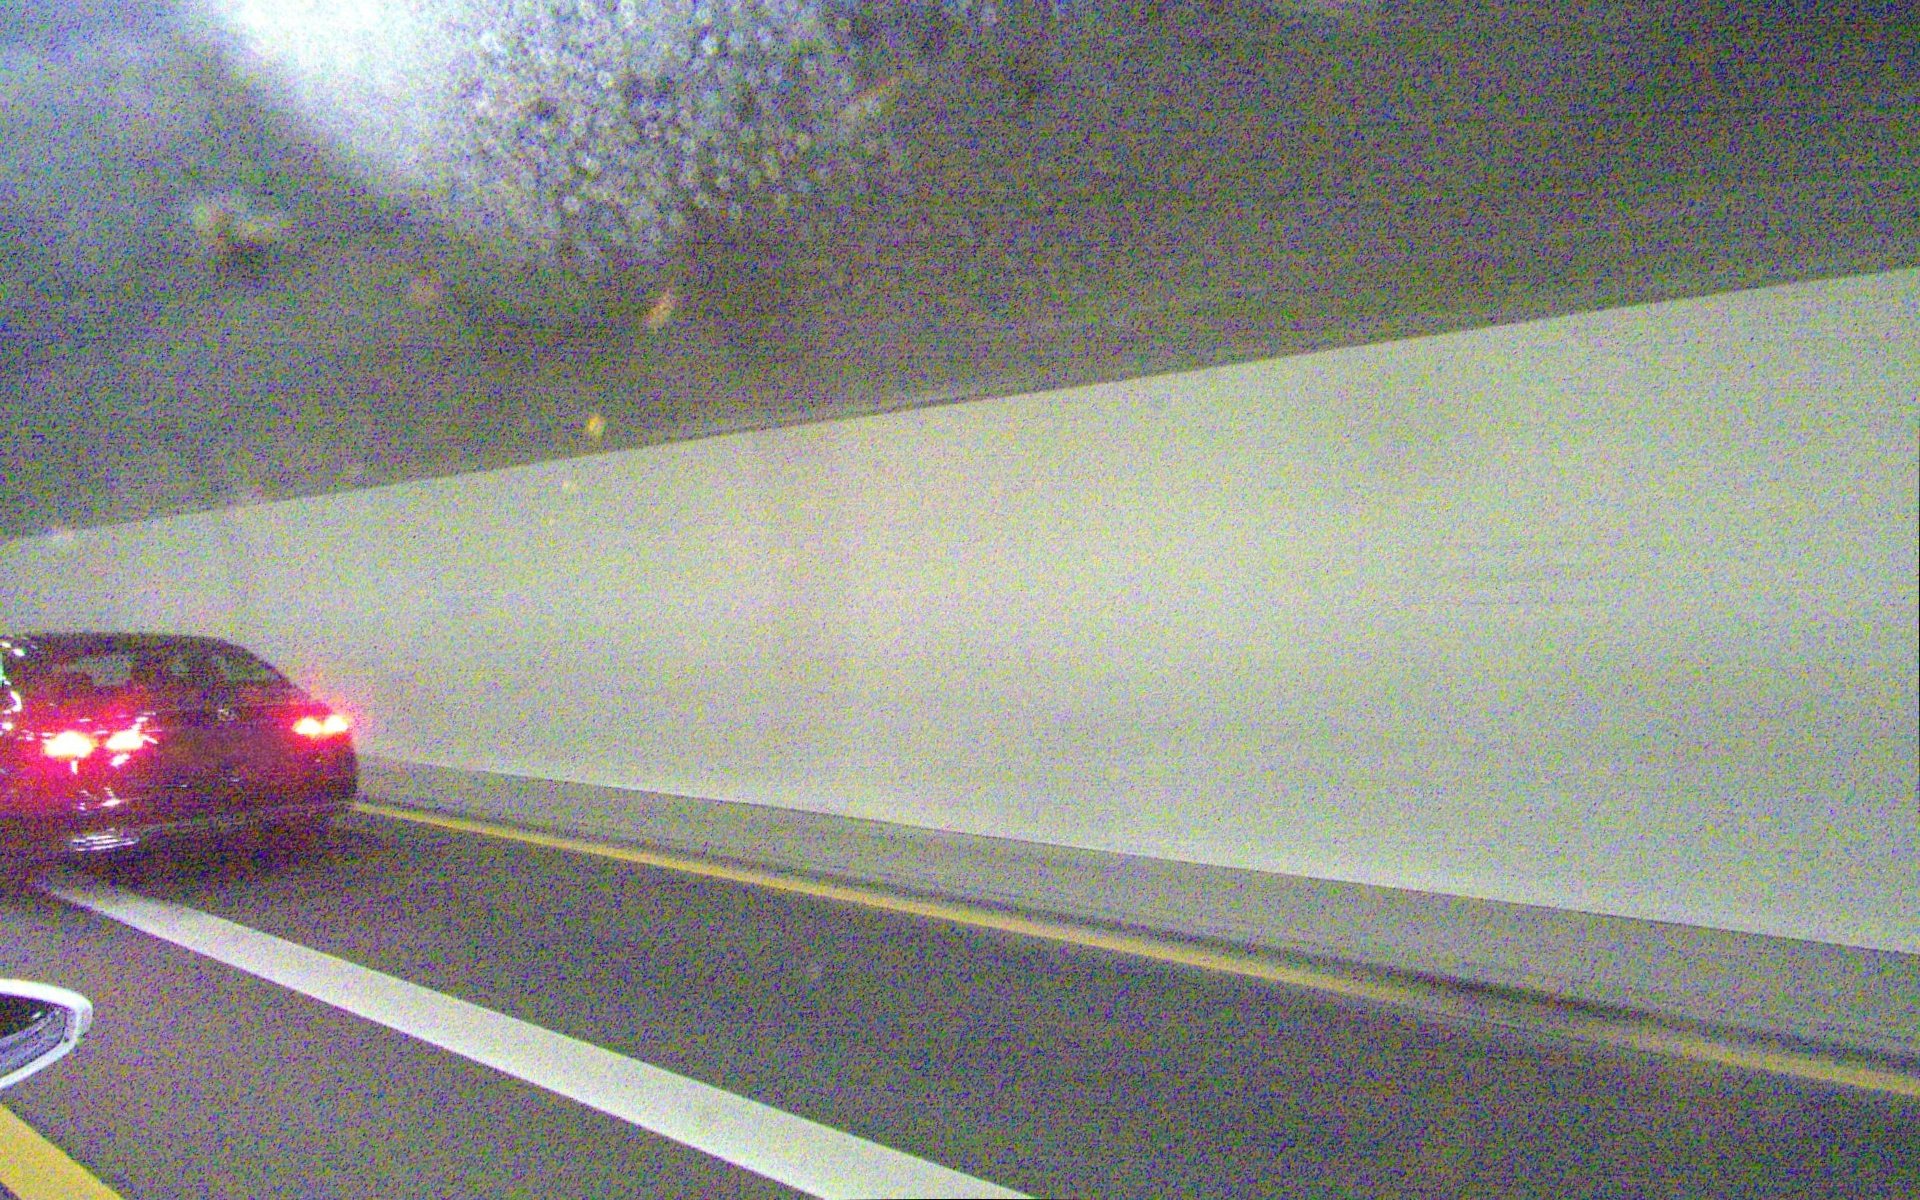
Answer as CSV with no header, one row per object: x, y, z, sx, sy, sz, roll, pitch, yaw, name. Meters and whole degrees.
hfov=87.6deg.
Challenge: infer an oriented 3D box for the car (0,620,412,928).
-6.114,0.928,7.023,4.885,1.491,1.922,-1,-3,33,car
